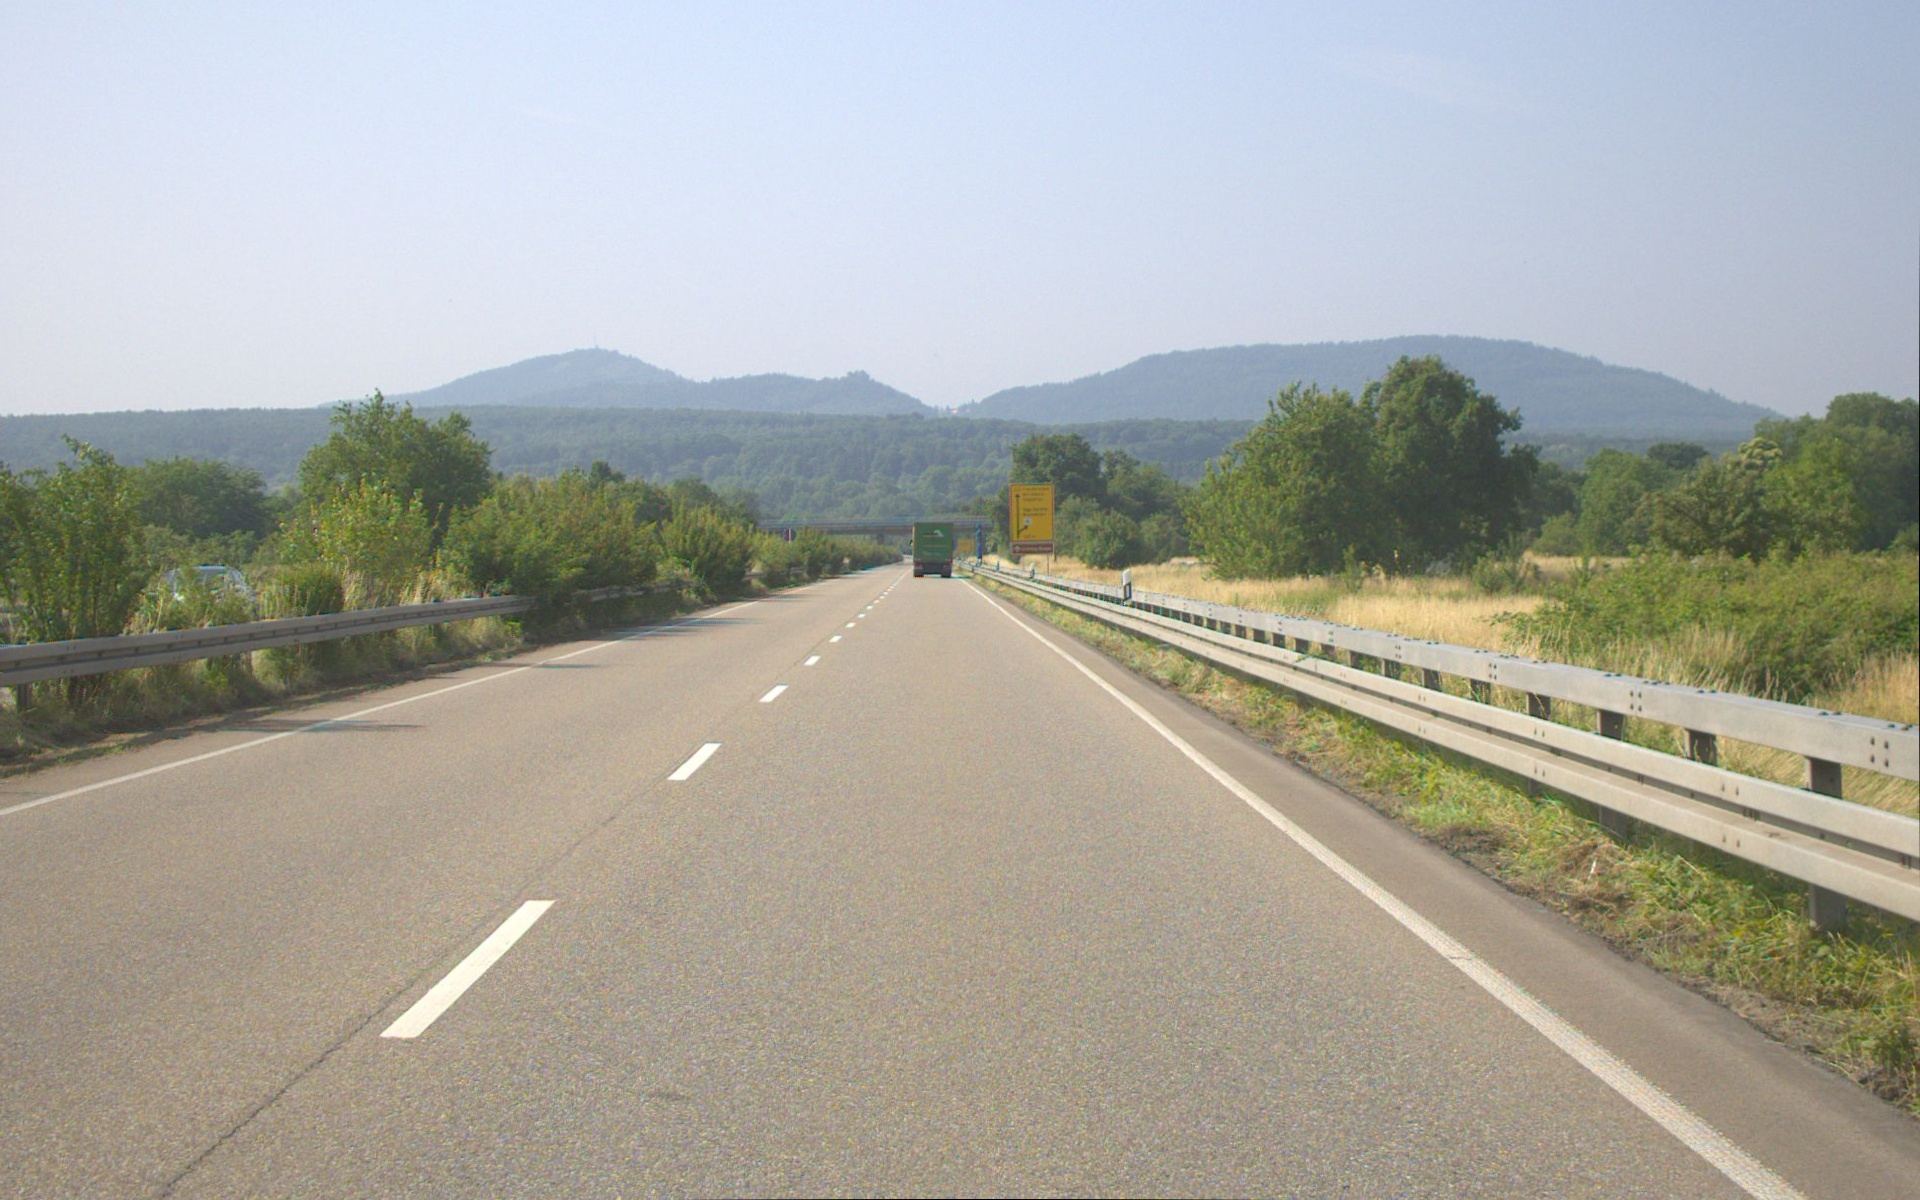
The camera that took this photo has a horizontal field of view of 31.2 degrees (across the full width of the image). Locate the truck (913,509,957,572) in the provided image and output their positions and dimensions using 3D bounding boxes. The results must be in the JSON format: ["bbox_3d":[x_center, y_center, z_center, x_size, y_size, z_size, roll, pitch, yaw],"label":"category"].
[{"bbox_3d":[-1.638,-3.996,228.431,2.722,3.952,10.416,1,2,0],"label":"truck"}]
